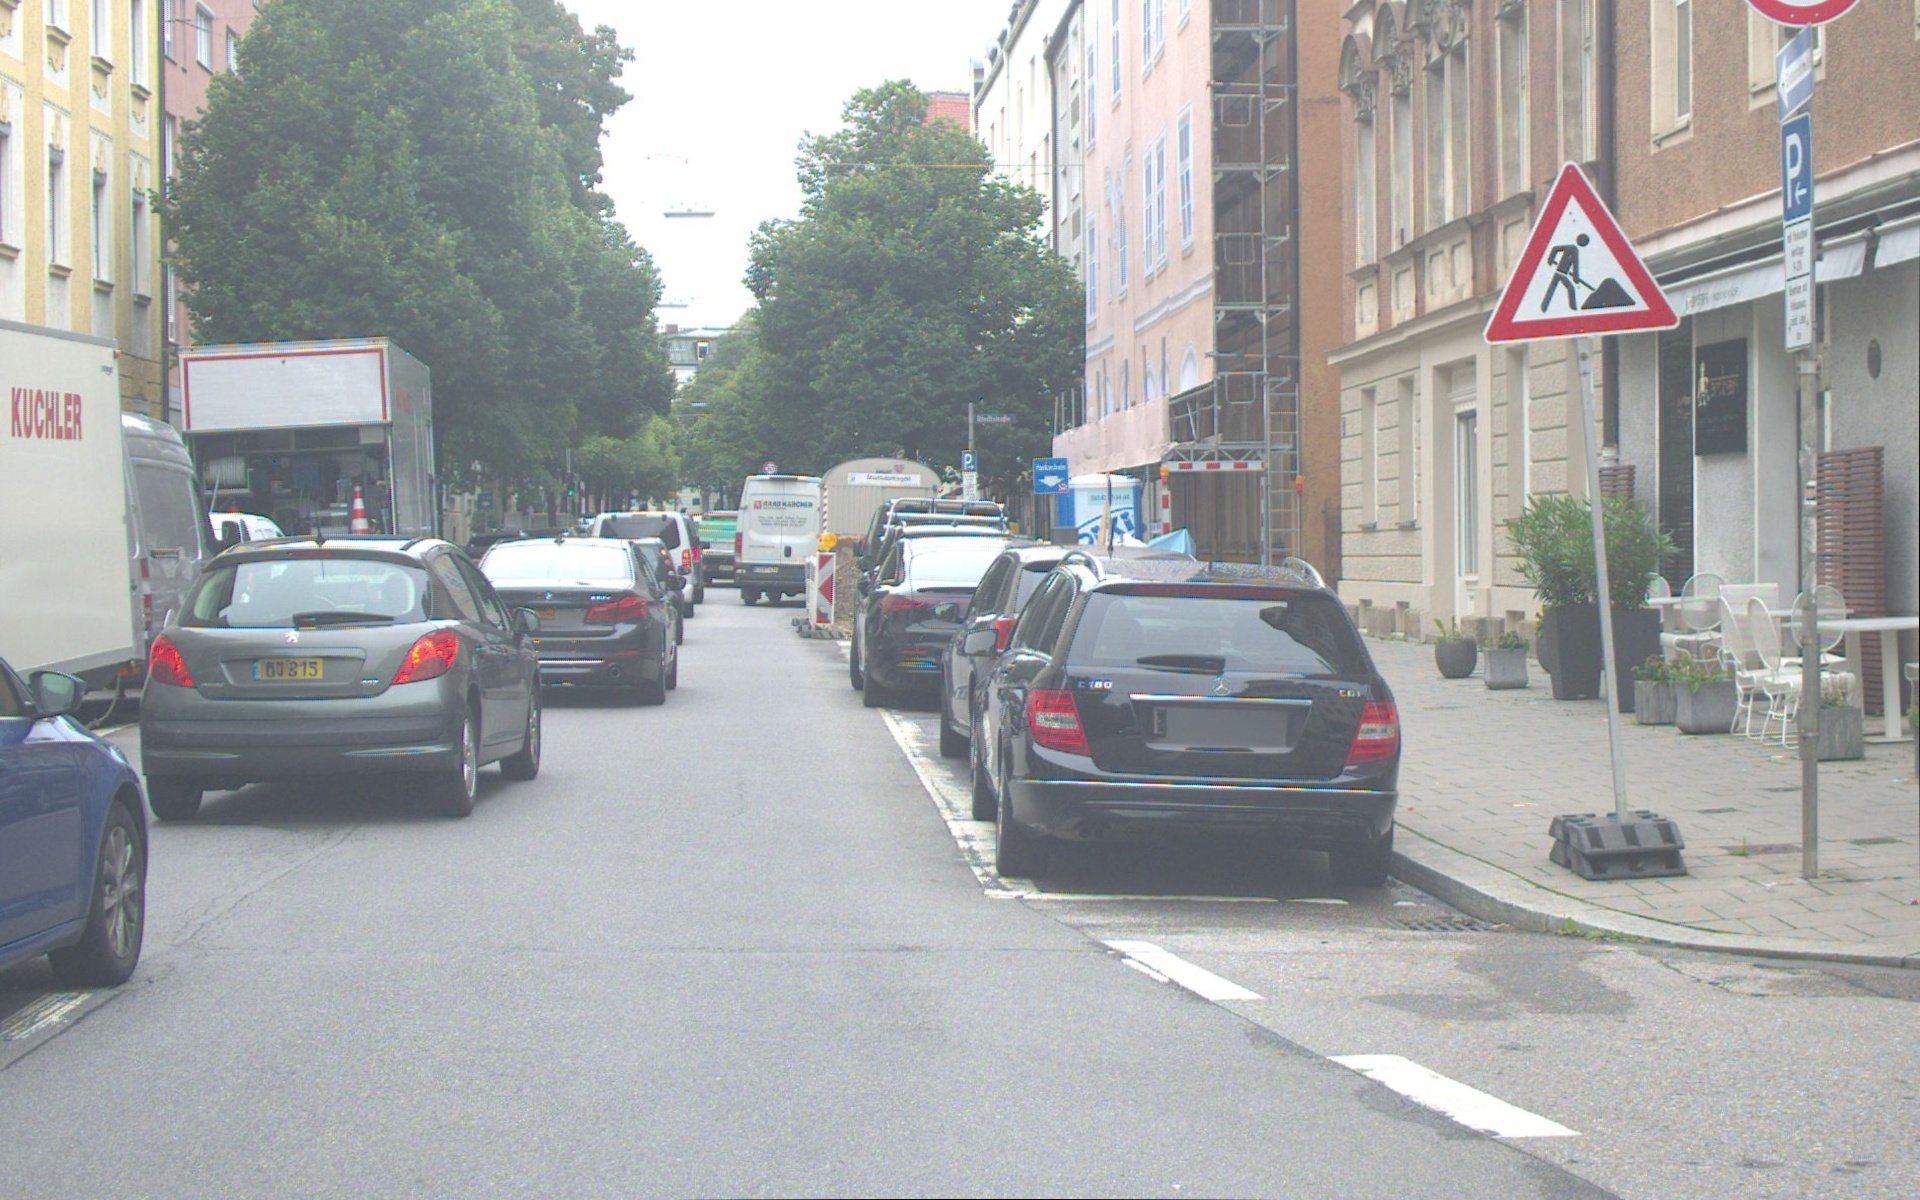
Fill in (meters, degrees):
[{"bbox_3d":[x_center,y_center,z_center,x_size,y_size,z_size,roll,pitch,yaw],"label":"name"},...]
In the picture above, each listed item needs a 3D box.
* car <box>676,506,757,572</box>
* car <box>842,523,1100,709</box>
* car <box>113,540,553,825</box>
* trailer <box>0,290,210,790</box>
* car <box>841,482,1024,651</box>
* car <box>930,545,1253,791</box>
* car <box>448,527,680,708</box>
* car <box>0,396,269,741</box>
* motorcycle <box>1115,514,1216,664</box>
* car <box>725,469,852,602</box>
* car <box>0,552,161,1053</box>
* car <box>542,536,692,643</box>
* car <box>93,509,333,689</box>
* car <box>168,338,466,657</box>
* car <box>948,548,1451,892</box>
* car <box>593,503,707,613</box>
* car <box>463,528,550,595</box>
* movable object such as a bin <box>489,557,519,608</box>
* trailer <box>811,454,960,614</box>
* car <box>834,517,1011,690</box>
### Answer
[{"bbox_3d":[-6.413,-1.623,90.189,2.007,1.647,4.348,1,2,-5],"label":"car"},{"bbox_3d":[0.000,0.077,31.598,1.930,1.547,5.638,0,1,-4],"label":"car"},{"bbox_3d":[-3.353,0.386,19.028,1.741,1.417,3.664,0,1,0],"label":"car"},{"bbox_3d":[-7.140,-0.360,22.387,2.803,2.958,7.600,-4,2,-1],"label":"trailer"},{"bbox_3d":[-0.410,-0.360,42.994,2.082,1.914,5.140,1,-1,-2],"label":"car"},{"bbox_3d":[0.740,0.364,21.843,1.572,1.389,4.183,-1,1,-4],"label":"car"},{"bbox_3d":[-3.466,0.101,30.737,1.867,1.449,4.348,1,2,-4],"label":"car"},{"bbox_3d":[-7.611,-0.280,29.876,2.056,2.578,6.878,-5,1,-4],"label":"car"},{"bbox_3d":[2.112,-0.127,35.513,0.871,1.499,1.997,0,1,-1],"label":"motorcycle"},{"bbox_3d":[-3.552,-1.331,72.119,2.113,2.654,5.500,1,1,2],"label":"car"},{"bbox_3d":[-3.713,0.612,9.732,1.789,1.455,4.314,-1,1,1],"label":"car"},{"bbox_3d":[-4.697,-0.178,47.578,1.867,1.343,4.348,1,2,-3],"label":"car"},{"bbox_3d":[-8.029,-0.052,37.293,1.763,1.772,4.327,-2,1,-2],"label":"car"},{"bbox_3d":[-8.341,-1.302,45.616,2.812,3.804,8.725,-1,1,-4],"label":"car"},{"bbox_3d":[0.990,0.458,16.632,1.846,1.400,4.789,0,1,-3],"label":"car"},{"bbox_3d":[-5.517,-0.785,61.540,1.867,1.863,4.348,1,2,-3],"label":"car"},{"bbox_3d":[-10.323,-0.895,78.375,1.812,1.473,4.001,0,1,-5],"label":"car"},{"bbox_3d":[-9.245,-0.356,69.755,0.546,1.017,0.636,-2,1,-7],"label":"movable object such as a bin"},{"bbox_3d":[-1.483,-1.228,65.129,2.502,2.830,6.902,1,1,-3],"label":"trailer"},{"bbox_3d":[-0.458,0.011,36.898,1.693,1.671,4.408,3,1,-2],"label":"car"}]
